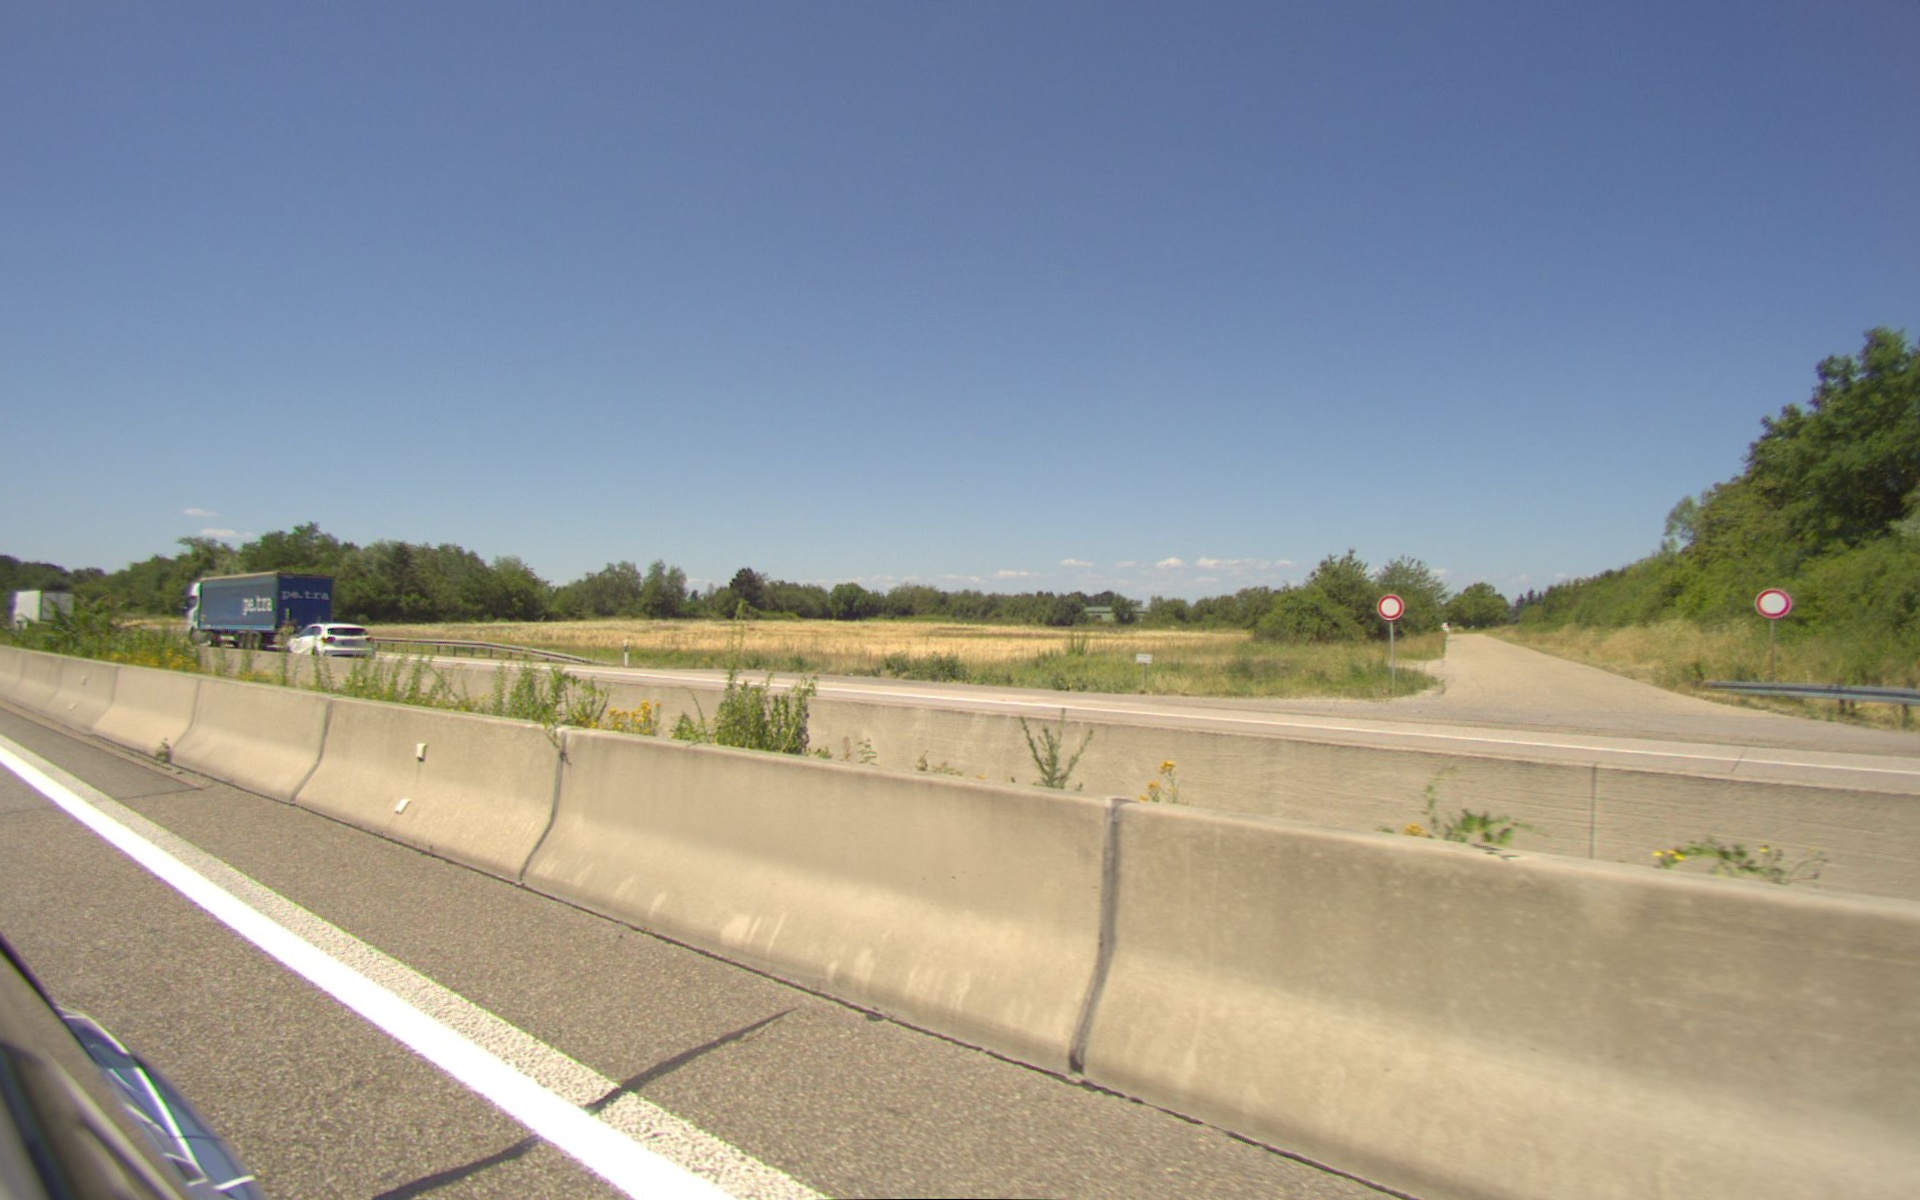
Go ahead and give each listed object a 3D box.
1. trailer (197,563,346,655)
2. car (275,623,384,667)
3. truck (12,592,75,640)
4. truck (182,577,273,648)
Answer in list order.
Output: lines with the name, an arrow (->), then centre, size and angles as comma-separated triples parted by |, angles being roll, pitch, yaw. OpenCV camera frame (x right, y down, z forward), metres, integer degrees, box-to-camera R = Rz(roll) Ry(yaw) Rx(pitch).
trailer -> -37.204, 0.458, 54.336 | 13.494, 4.412, 3.231 | -1, 0, 41
car -> -21.922, 1.546, 35.108 | 4.667, 1.420, 1.795 | -1, -3, 40
truck -> -88.540, 1.469, 97.676 | 10.531, 4.412, 3.217 | -1, 0, 41
truck -> -43.025, 0.689, 59.393 | 5.155, 3.924, 3.198 | -1, 0, 41
